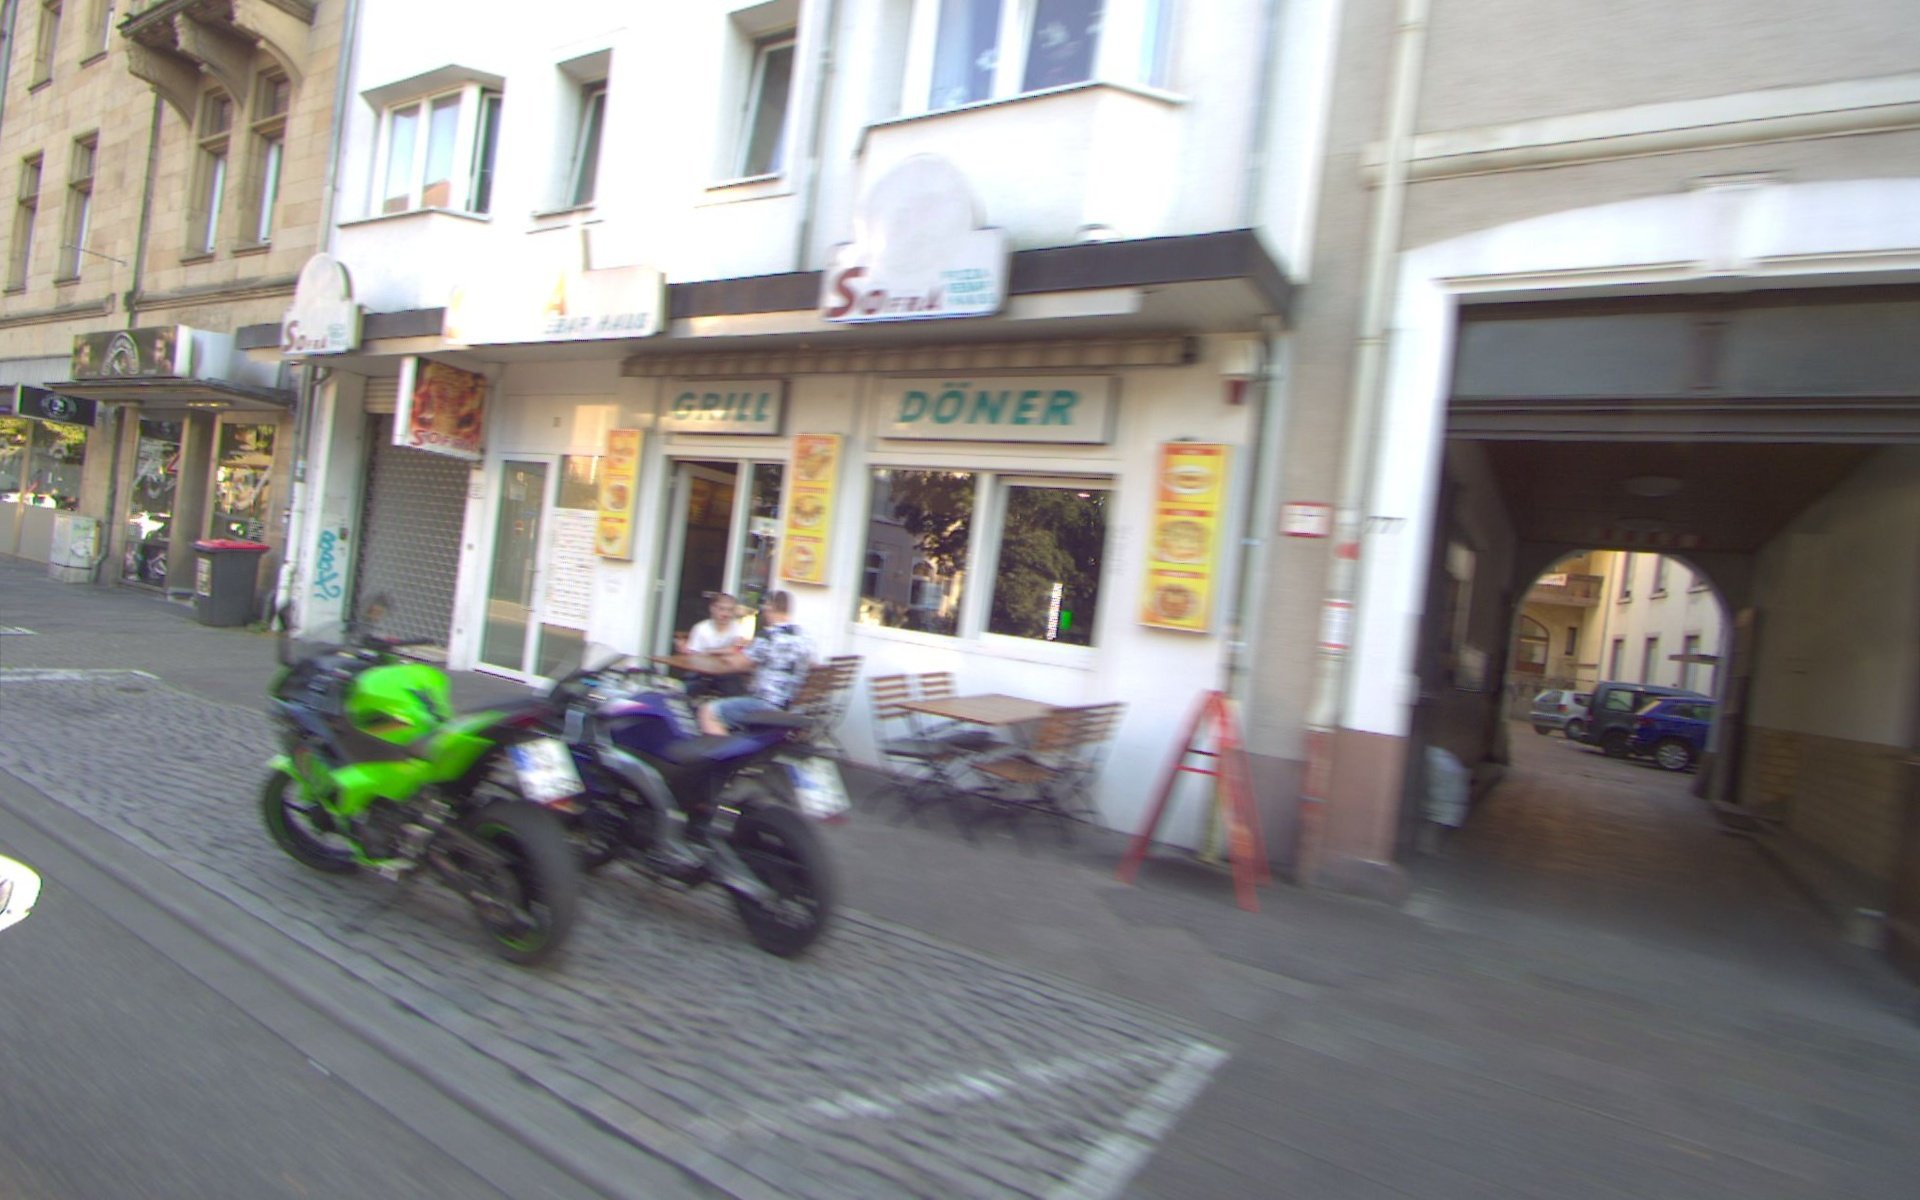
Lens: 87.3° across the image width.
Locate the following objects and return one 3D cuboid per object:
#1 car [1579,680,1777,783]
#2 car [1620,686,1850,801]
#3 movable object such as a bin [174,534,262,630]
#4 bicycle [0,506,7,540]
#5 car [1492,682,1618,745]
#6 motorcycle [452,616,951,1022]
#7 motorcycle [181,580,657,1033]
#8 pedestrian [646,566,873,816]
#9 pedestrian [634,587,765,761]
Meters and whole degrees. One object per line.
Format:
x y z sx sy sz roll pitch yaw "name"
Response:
16.849 3.056 23.718 3.513 1.743 1.735 7 -1 38 "car"
16.201 2.963 21.215 3.552 1.690 1.735 7 -2 38 "car"
-9.416 -0.227 12.770 0.653 1.097 0.597 8 -1 33 "movable object such as a bin"
-31.695 -2.602 32.337 1.742 1.050 0.416 8 1 6 "bicycle"
18.040 3.423 30.654 1.709 1.410 3.144 8 -2 -3 "car"
-1.176 0.785 4.262 2.173 1.136 0.589 8 0 32 "motorcycle"
-2.212 0.648 3.958 2.173 1.216 0.588 8 3 32 "motorcycle"
-1.381 0.616 7.018 0.976 1.504 0.957 8 -1 32 "pedestrian"
-2.088 0.578 8.024 0.734 1.236 0.785 6 3 -28 "pedestrian"
